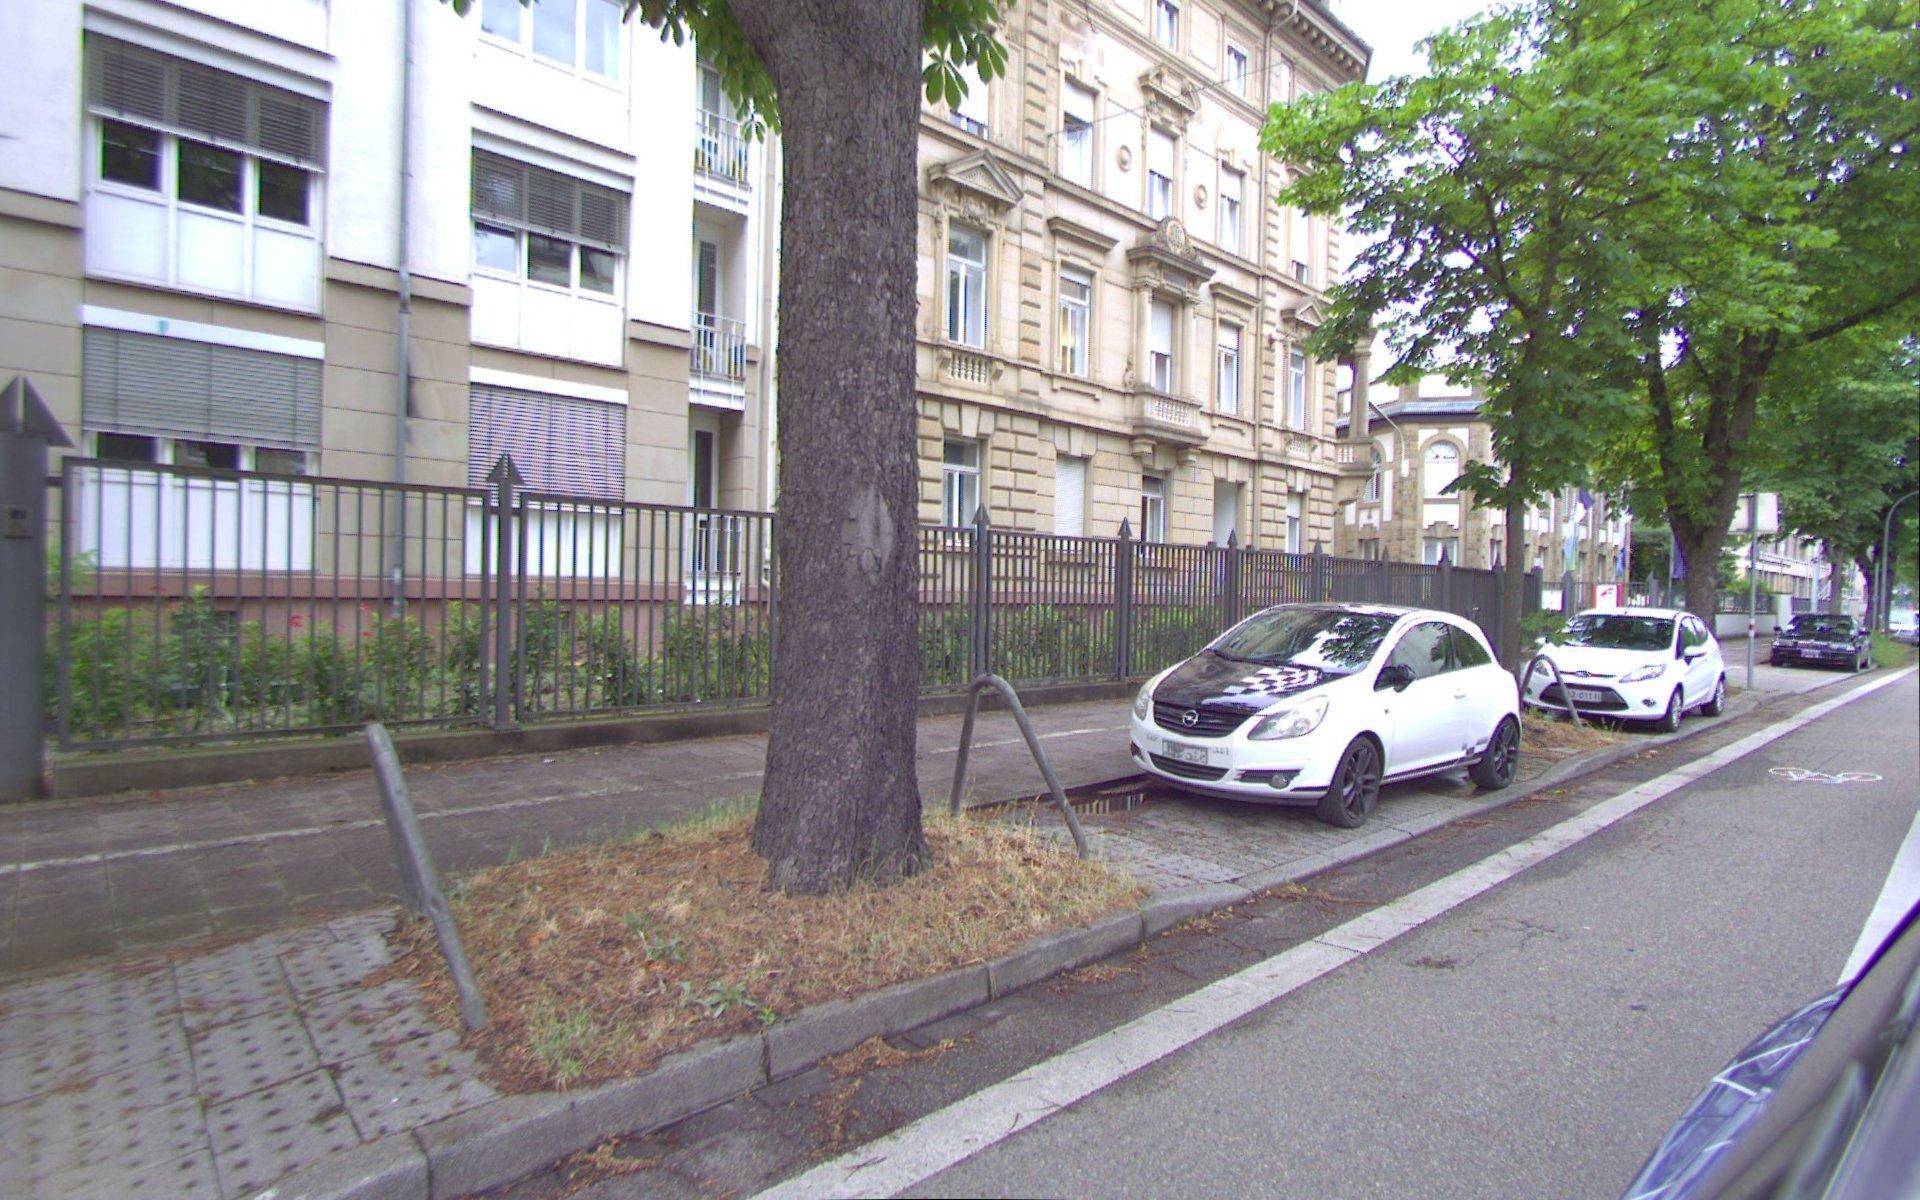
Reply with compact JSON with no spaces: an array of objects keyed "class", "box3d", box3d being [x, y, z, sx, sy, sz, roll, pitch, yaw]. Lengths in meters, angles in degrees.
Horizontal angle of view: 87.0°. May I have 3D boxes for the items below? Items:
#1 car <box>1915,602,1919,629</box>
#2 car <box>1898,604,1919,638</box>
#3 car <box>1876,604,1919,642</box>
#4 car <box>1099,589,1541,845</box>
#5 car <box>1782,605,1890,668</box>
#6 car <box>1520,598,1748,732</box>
[{"class":"car","box3d":[52.562,0.869,54.325,3.771,1.387,1.605,0,3,-43]},{"class":"car","box3d":[43.785,0.950,45.810,3.771,1.442,1.605,0,3,-43]},{"class":"car","box3d":[38.427,0.910,40.976,3.771,1.387,1.605,0,3,-43]},{"class":"car","box3d":[2.934,0.700,7.875,3.711,1.453,1.605,0,3,-42]},{"class":"car","box3d":[22.378,0.868,25.813,3.771,1.387,1.605,0,3,-43]},{"class":"car","box3d":[9.014,0.749,13.434,3.700,1.453,1.630,0,3,-43]}]
